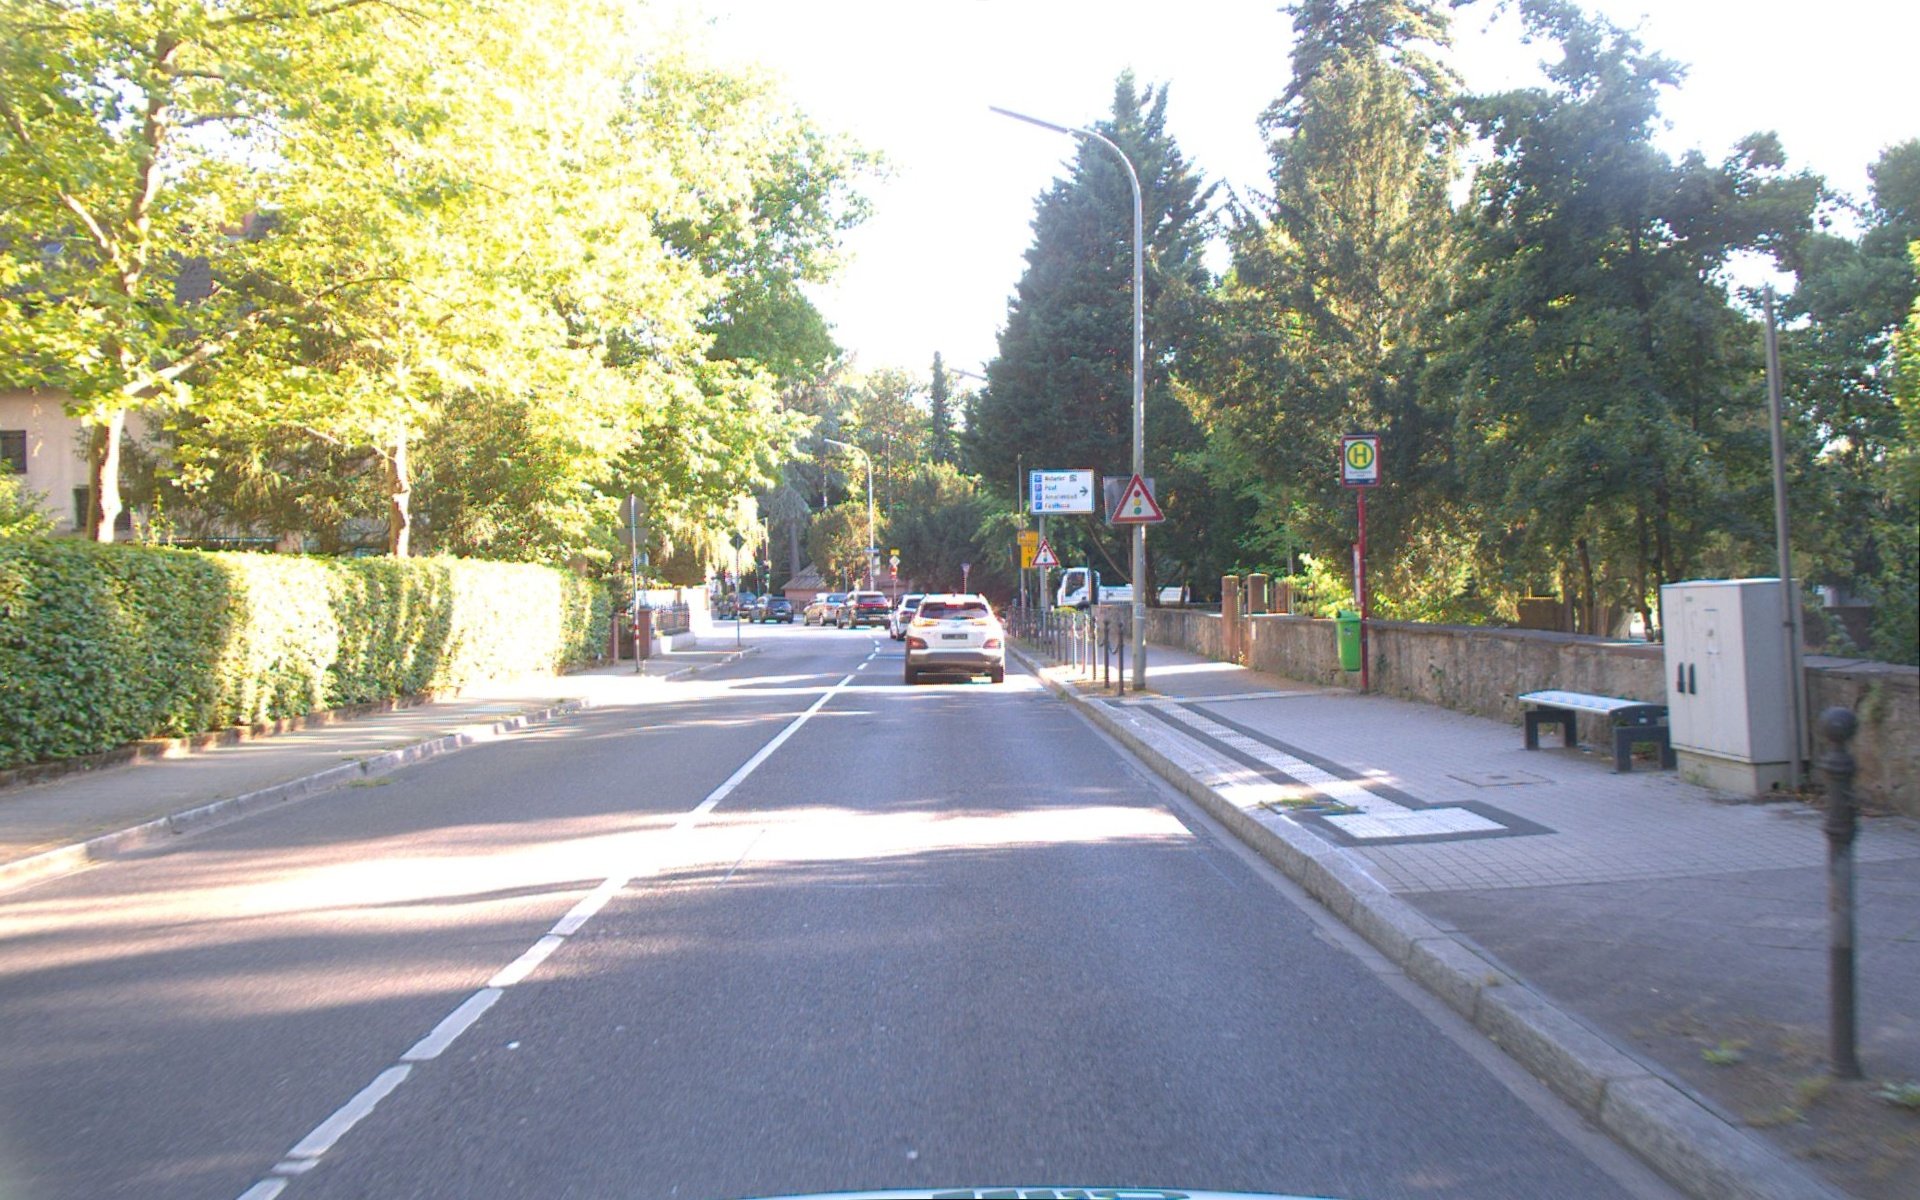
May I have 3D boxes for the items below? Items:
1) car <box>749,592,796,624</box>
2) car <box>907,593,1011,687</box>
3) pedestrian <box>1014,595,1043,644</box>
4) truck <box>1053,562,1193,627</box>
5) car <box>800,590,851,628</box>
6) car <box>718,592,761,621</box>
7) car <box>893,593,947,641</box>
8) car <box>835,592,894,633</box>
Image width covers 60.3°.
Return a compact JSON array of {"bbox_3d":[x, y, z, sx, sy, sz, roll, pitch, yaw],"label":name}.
[{"bbox_3d":[-10.255,0.431,90.297,1.803,1.691,3.979,0,0,-18],"label":"car"},{"bbox_3d":[-0.062,0.699,30.886,1.783,1.601,3.999,1,0,-2],"label":"car"},{"bbox_3d":[2.606,0.733,62.992,0.934,1.858,0.546,1,2,-40],"label":"pedestrian"},{"bbox_3d":[7.651,-0.250,78.025,6.449,2.945,2.434,1,0,4],"label":"truck"},{"bbox_3d":[-6.561,0.418,80.445,1.801,1.771,3.985,1,0,-14],"label":"car"},{"bbox_3d":[-13.550,0.376,101.520,1.804,1.691,3.978,1,0,-19],"label":"car"},{"bbox_3d":[-1.371,0.561,56.450,1.769,1.564,3.999,1,0,-2],"label":"car"},{"bbox_3d":[-4.203,0.521,72.236,1.801,1.691,3.983,1,0,-15],"label":"car"}]
